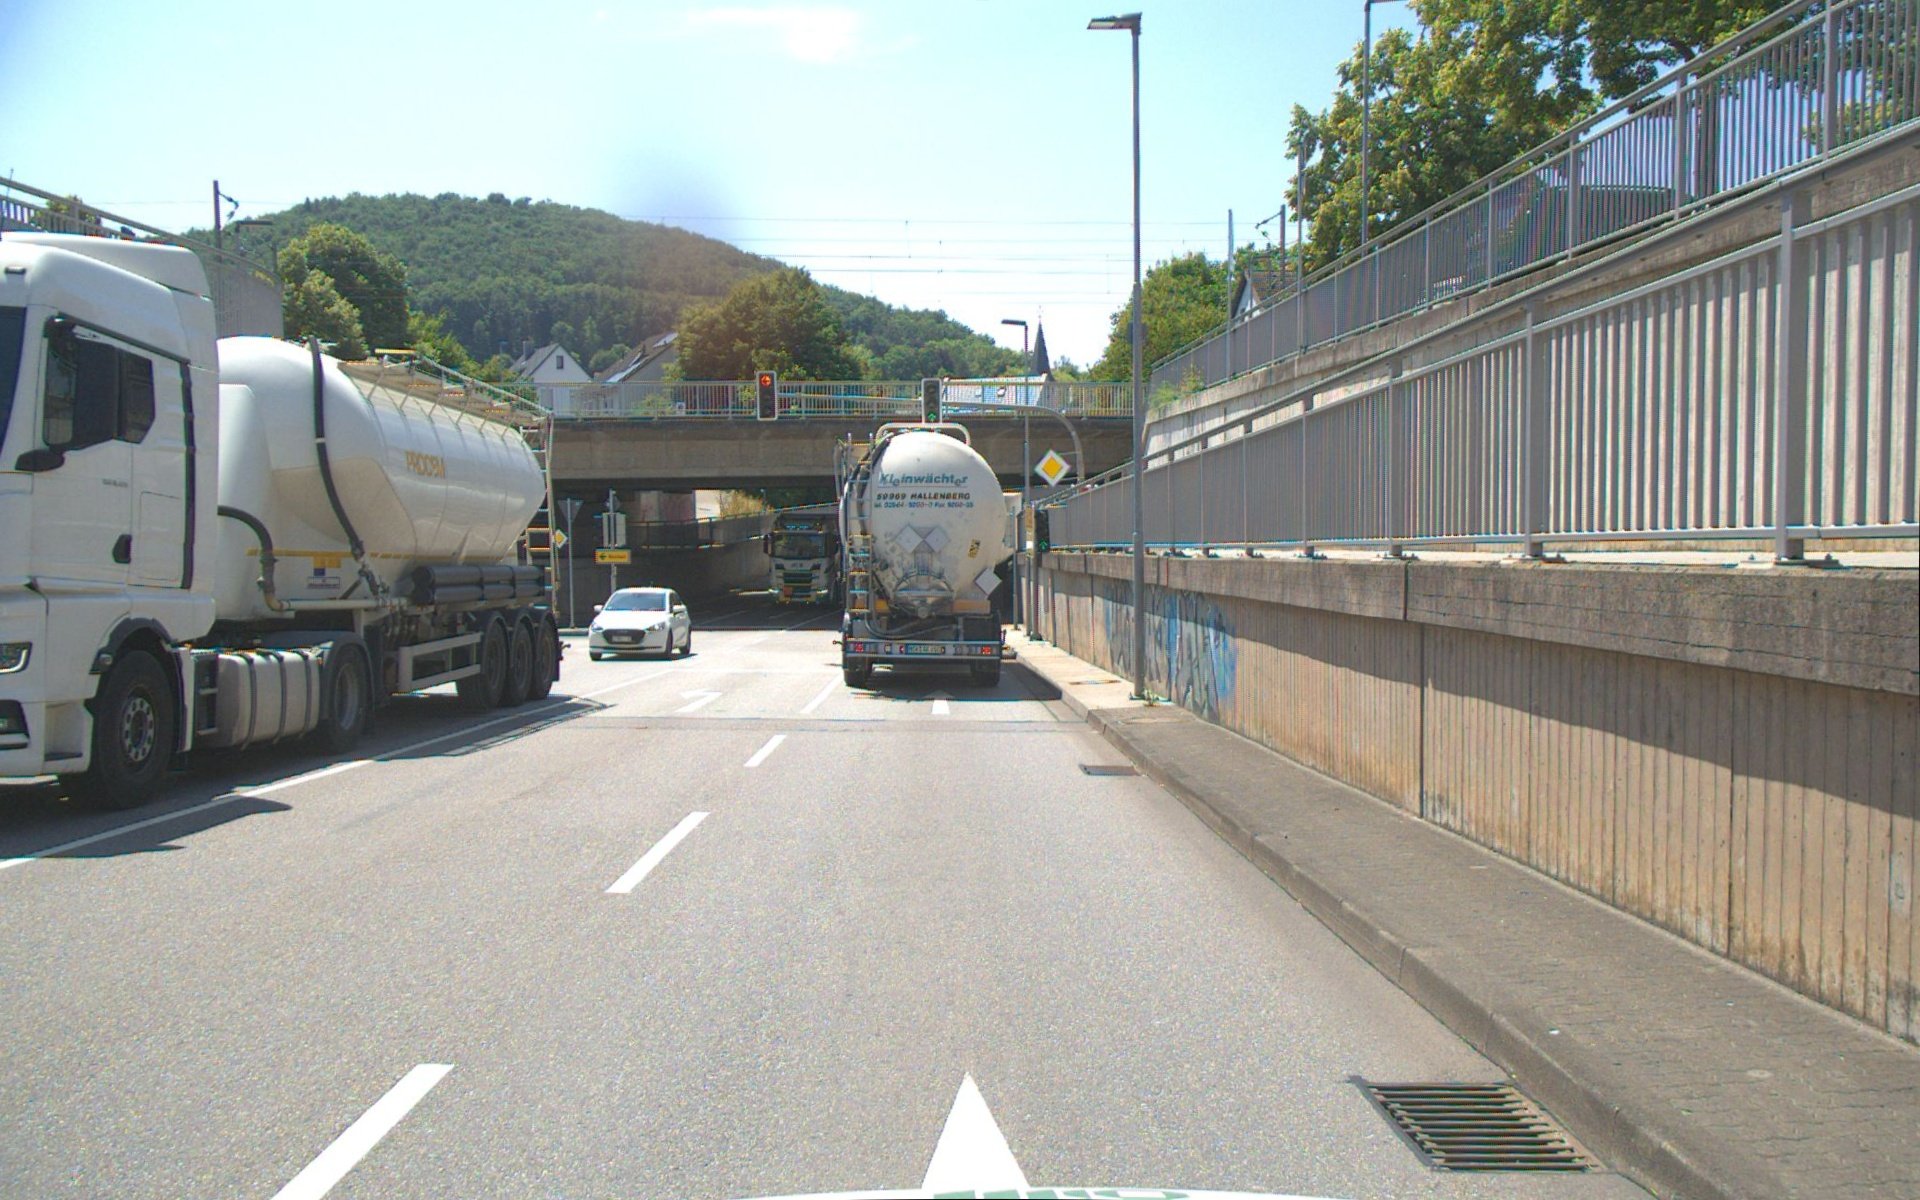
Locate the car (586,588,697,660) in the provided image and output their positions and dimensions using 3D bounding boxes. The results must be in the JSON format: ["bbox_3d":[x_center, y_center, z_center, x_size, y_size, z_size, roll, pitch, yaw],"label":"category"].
[{"bbox_3d":[-6.845,0.473,35.907,1.648,1.466,4.093,0,0,0],"label":"car"}]

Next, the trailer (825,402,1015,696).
[{"bbox_3d":[-0.565,-0.790,30.009,2.679,4.135,13.313,0,1,0],"label":"trailer"}]

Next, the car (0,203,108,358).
[{"bbox_3d":[-11.641,-3.753,19.138,1.586,1.526,4.044,1,4,-3],"label":"car"}]

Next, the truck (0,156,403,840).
[{"bbox_3d":[-6.697,-0.605,12.766,2.607,3.928,6.579,0,0,-1],"label":"truck"}]

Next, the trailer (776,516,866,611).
[{"bbox_3d":[-5.827,-1.504,70.736,2.633,3.727,9.892,1,1,2],"label":"trailer"}]

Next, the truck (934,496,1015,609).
[{"bbox_3d":[0.840,-2.310,80.491,3.016,5.087,10.090,1,1,5],"label":"truck"}]

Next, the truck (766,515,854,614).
[{"bbox_3d":[-5.916,-1.399,66.365,2.634,3.727,7.371,1,1,2],"label":"truck"}]

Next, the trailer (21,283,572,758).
[{"bbox_3d":[-6.747,-0.692,18.772,2.557,4.033,9.345,0,0,-1],"label":"trailer"}]
